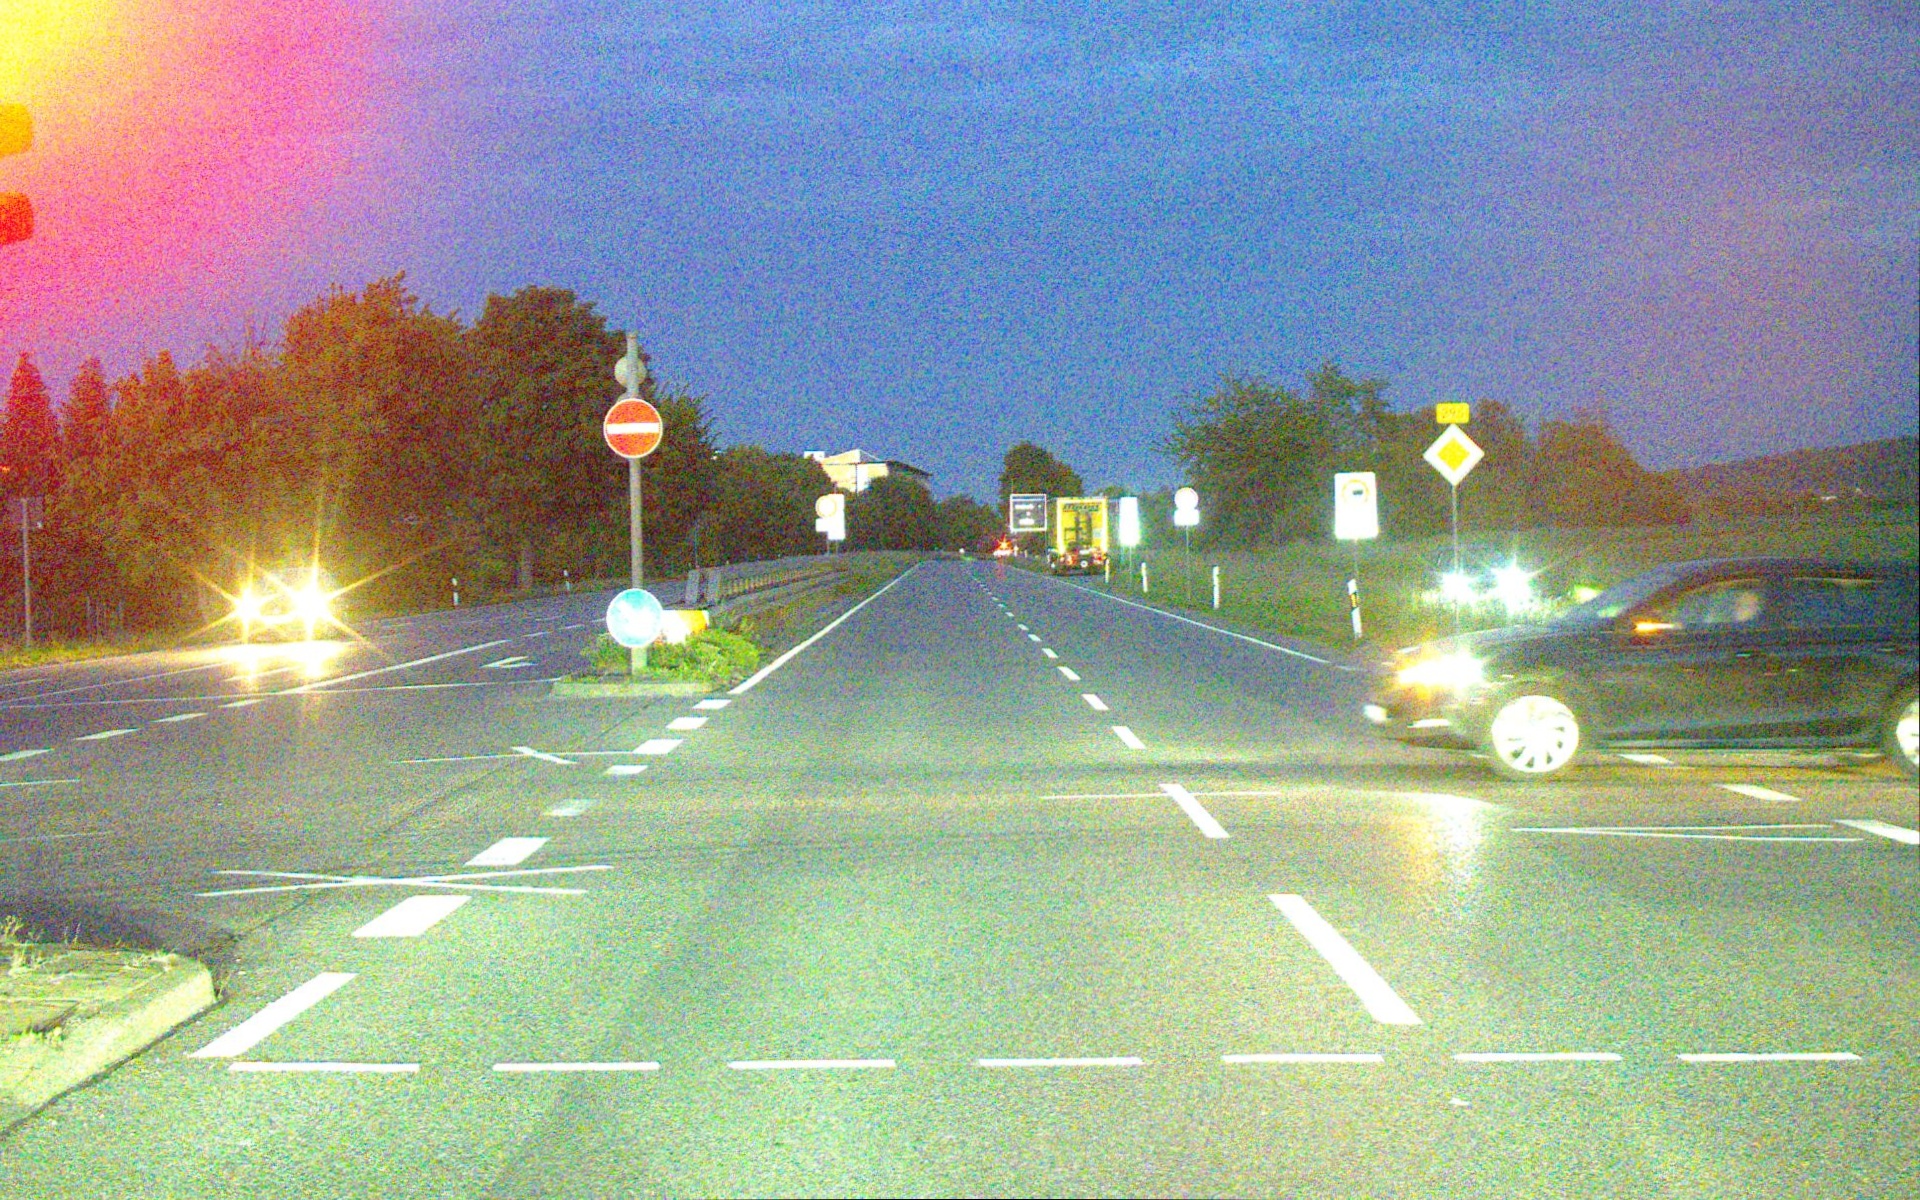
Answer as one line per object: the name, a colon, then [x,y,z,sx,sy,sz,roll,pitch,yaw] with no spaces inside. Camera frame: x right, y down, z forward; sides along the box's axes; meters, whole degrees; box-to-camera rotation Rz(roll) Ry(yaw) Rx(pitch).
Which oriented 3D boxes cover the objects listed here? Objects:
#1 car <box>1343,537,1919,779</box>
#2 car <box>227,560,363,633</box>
car: [5.024,0.366,23.155,4.600,1.515,2.000,1,1,-2]
car: [-13.417,-0.091,69.593,1.993,1.382,4.000,-1,1,-1]
